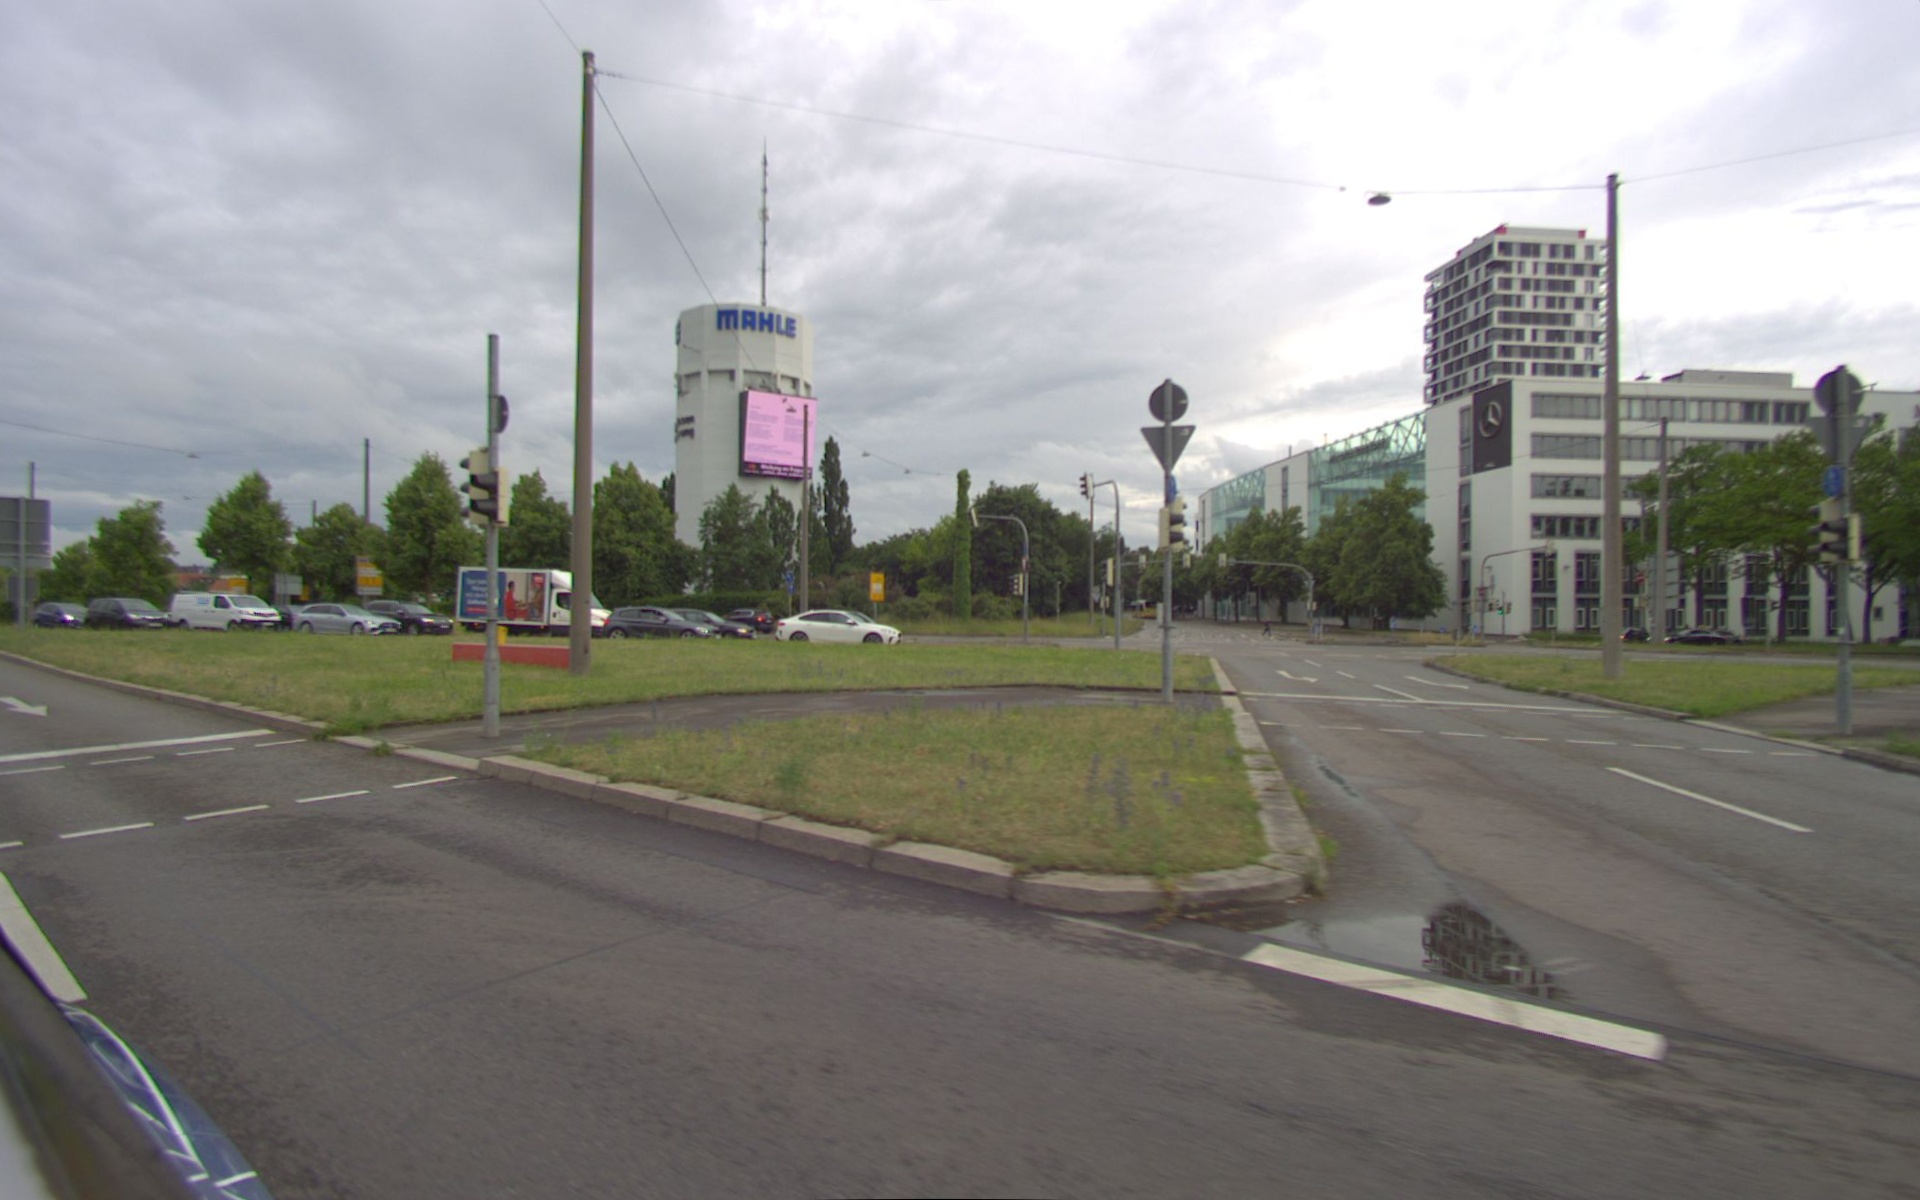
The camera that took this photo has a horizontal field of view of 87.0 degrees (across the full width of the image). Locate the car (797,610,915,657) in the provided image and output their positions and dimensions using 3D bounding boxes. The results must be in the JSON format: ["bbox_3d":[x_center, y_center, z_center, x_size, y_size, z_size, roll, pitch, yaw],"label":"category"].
[{"bbox_3d":[-4.049,1.298,39.977,4.458,1.695,2.000,-1,1,1],"label":"car"}]

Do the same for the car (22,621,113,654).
[{"bbox_3d":[-49.604,2.072,56.245,4.489,1.695,1.986,-1,1,22],"label":"car"}]

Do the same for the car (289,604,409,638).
[{"bbox_3d":[-26.380,0.909,43.714,4.492,1.320,1.989,-1,1,17],"label":"car"}]

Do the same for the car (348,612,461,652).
[{"bbox_3d":[-25.509,1.457,46.487,4.482,1.695,1.989,-1,1,17],"label":"car"}]

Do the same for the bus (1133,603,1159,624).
[{"bbox_3d":[31.866,2.224,173.668,2.821,3.351,8.885,-1,1,1],"label":"bus"}]

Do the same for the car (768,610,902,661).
[{"bbox_3d":[-4.415,1.247,36.186,4.462,1.695,1.998,0,1,4],"label":"car"}]

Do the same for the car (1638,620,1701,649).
[{"bbox_3d":[46.579,2.255,66.422,3.650,1.688,1.906,-2,1,-28],"label":"car"}]

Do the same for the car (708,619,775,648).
[{"bbox_3d":[-14.602,2.237,67.712,3.961,1.831,1.810,-1,1,14],"label":"car"}]

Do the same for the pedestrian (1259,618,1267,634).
[{"bbox_3d":[41.890,3.592,139.882,1.025,2.029,0.835,-1,1,11],"label":"pedestrian"}]

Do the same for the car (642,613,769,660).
[{"bbox_3d":[-10.058,1.441,40.203,4.467,1.695,1.995,-1,1,8],"label":"car"}]

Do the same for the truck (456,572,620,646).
[{"bbox_3d":[-17.266,0.365,41.532,5.962,2.856,2.125,-1,1,9],"label":"truck"}]

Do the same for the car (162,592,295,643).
[{"bbox_3d":[-33.286,0.806,46.080,5.269,2.197,2.359,-1,1,20],"label":"car"}]

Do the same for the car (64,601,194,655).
[{"bbox_3d":[-35.737,1.191,43.530,5.131,2.197,1.987,-1,1,20],"label":"car"}]

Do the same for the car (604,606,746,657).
[{"bbox_3d":[-10.168,1.111,36.208,4.472,1.695,1.994,-1,1,11],"label":"car"}]

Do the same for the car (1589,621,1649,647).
[{"bbox_3d":[45.256,2.314,69.522,3.649,1.689,1.906,1,-1,-28],"label":"car"}]
